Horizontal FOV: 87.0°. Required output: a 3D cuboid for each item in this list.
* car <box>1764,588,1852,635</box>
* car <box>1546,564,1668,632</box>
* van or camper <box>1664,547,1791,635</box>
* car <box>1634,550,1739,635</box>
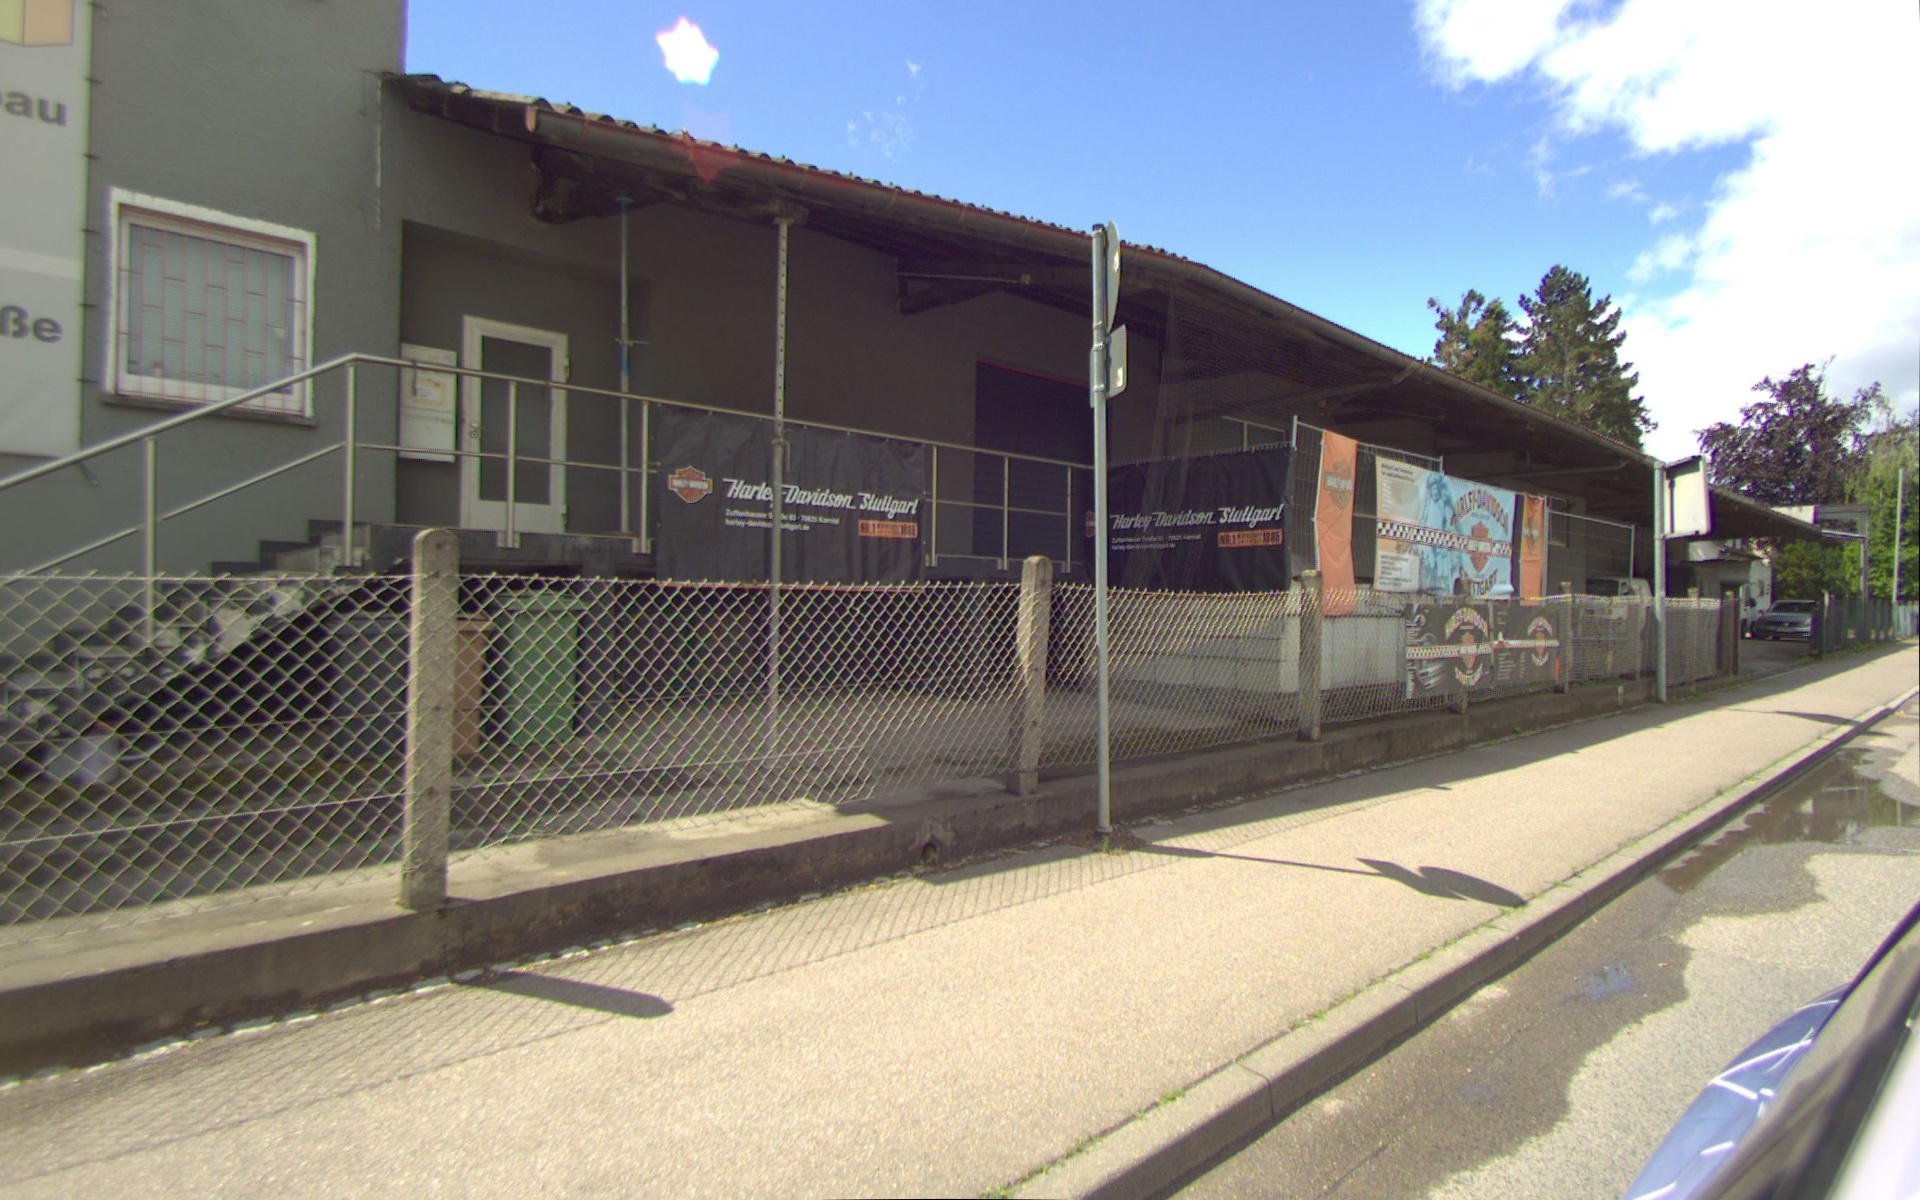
[{"bbox_3d":[29.722,0.400,35.420,4.842,1.508,1.766,1,-1,-43],"label":"car"},{"bbox_3d":[19.810,-0.036,30.920,4.770,1.934,1.996,1,0,-43],"label":"car"},{"bbox_3d":[29.622,-0.325,38.936,6.798,3.099,2.883,0,0,-44],"label":"van or camper"},{"bbox_3d":[25.175,-0.195,34.985,5.405,2.715,2.019,2,-1,-44],"label":"car"}]
